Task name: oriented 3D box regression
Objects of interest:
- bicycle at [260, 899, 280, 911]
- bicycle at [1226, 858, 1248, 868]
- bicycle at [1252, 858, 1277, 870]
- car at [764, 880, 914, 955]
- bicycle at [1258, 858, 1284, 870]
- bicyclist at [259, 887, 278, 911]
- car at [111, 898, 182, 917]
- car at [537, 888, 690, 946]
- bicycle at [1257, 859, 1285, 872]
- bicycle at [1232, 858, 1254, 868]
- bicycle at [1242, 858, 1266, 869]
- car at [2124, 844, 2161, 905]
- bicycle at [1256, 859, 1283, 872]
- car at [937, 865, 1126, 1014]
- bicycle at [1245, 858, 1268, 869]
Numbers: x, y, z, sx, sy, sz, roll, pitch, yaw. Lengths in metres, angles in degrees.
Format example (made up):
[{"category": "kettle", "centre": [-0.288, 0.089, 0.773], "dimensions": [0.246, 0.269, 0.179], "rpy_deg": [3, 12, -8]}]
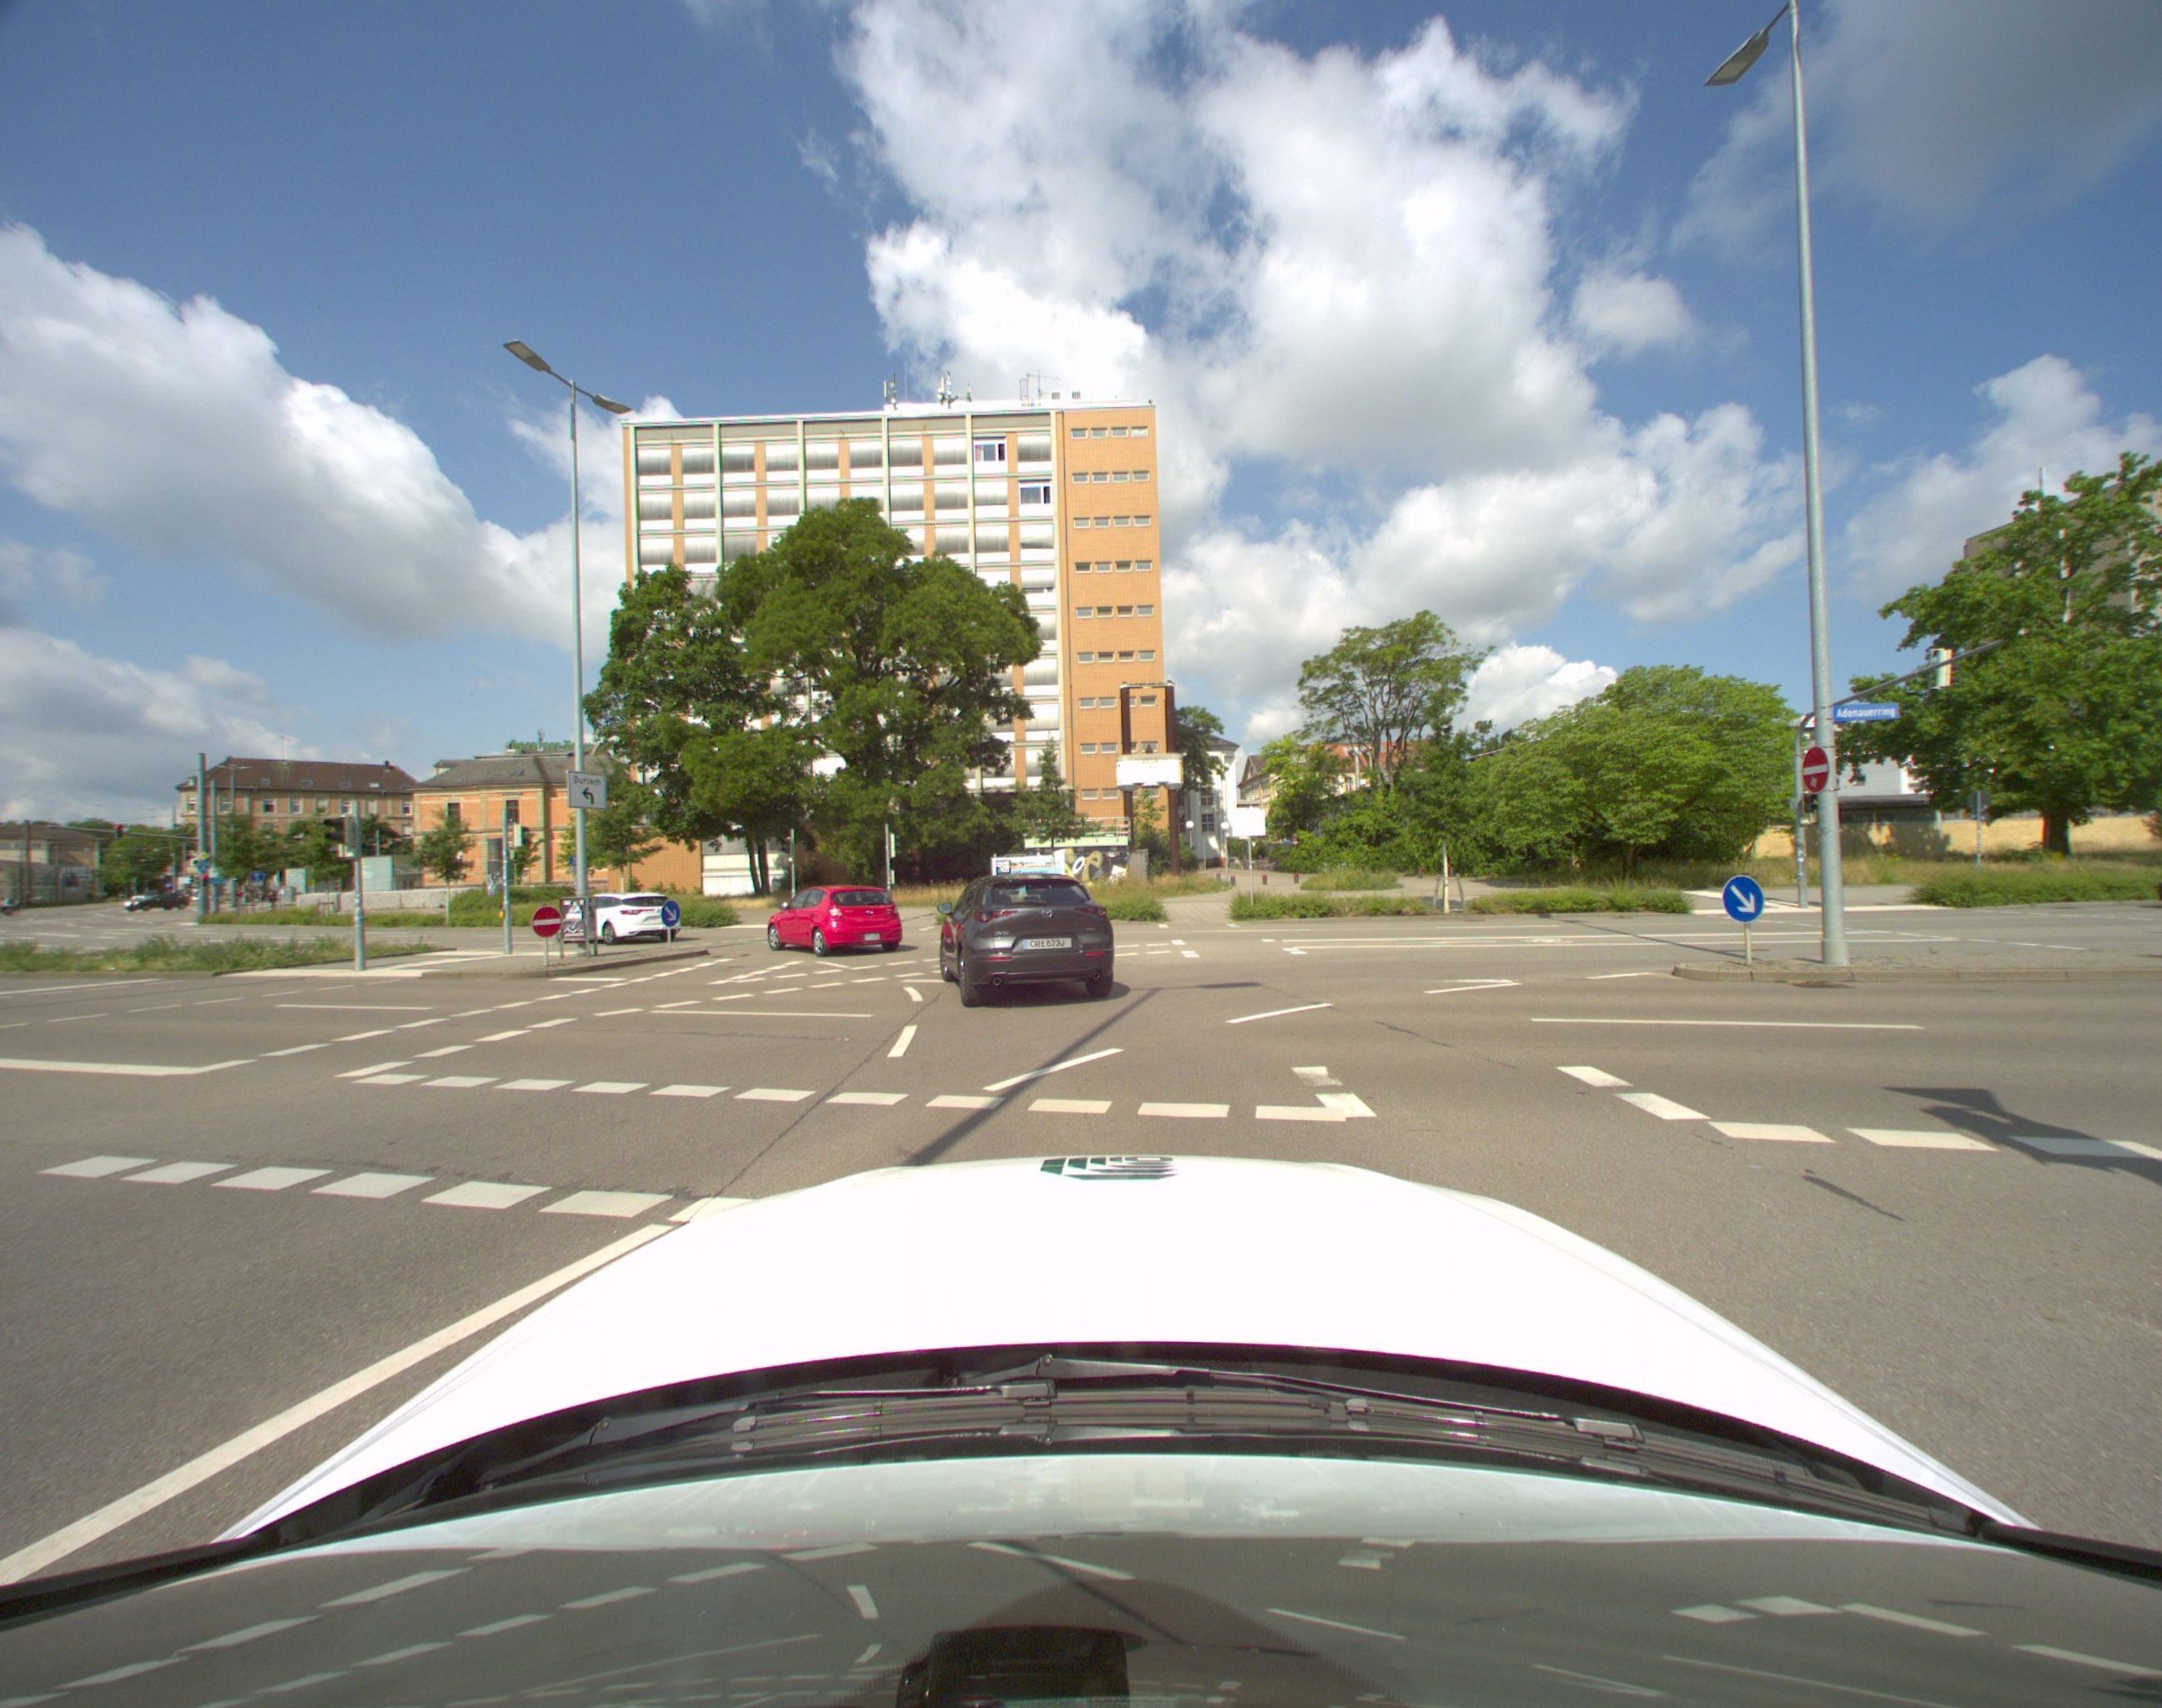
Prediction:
[{"category": "bicycle", "centre": [-59.481, 3.752, 59.739], "dimensions": [1.766, 0.811, 0.631], "rpy_deg": [-2, 0, 33]}, {"category": "bicycle", "centre": [16.405, 0.942, 85.682], "dimensions": [2.047, 0.936, 0.804], "rpy_deg": [-2, -1, 1]}, {"category": "bicycle", "centre": [16.335, 0.892, 72.594], "dimensions": [2.047, 0.936, 0.804], "rpy_deg": [-2, -1, 1]}, {"category": "car", "centre": [-5.530, 1.345, 18.290], "dimensions": [1.831, 1.439, 4.020], "rpy_deg": [0, -2, -39]}, {"category": "bicycle", "centre": [16.615, 0.886, 71.248], "dimensions": [2.047, 0.936, 0.804], "rpy_deg": [-2, -1, 1]}, {"category": "bicyclist", "centre": [-59.591, 3.273, 59.724], "dimensions": [0.953, 1.702, 0.743], "rpy_deg": [-3, 1, 33]}, {"category": "car", "centre": [-90.828, 5.196, 79.206], "dimensions": [1.795, 1.508, 4.095], "rpy_deg": [-2, -1, 13]}, {"category": "car", "centre": [-13.562, 1.796, 23.596], "dimensions": [4.279, 1.472, 1.865], "rpy_deg": [-2, -1, 29]}, {"category": "bicycle", "centre": [15.641, 0.933, 67.059], "dimensions": [2.047, 0.936, 0.804], "rpy_deg": [-2, -1, 1]}, {"category": "bicycle", "centre": [16.103, 0.924, 80.827], "dimensions": [2.047, 0.936, 0.804], "rpy_deg": [-2, -1, 1]}, {"category": "bicycle", "centre": [16.346, 0.908, 77.077], "dimensions": [2.047, 0.936, 0.804], "rpy_deg": [-2, -1, 1]}, {"category": "car", "centre": [27.050, 0.418, 18.378], "dimensions": [4.124, 1.377, 2.004], "rpy_deg": [-2, 0, 7]}, {"category": "bicycle", "centre": [15.855, 0.972, 68.629], "dimensions": [2.047, 0.936, 0.804], "rpy_deg": [-2, -1, 1]}, {"category": "car", "centre": [-0.879, 0.991, 10.881], "dimensions": [1.808, 1.508, 4.185], "rpy_deg": [-2, -2, -13]}, {"category": "bicycle", "centre": [16.385, 0.906, 76.070], "dimensions": [2.047, 0.936, 0.804], "rpy_deg": [-2, -1, 1]}]
